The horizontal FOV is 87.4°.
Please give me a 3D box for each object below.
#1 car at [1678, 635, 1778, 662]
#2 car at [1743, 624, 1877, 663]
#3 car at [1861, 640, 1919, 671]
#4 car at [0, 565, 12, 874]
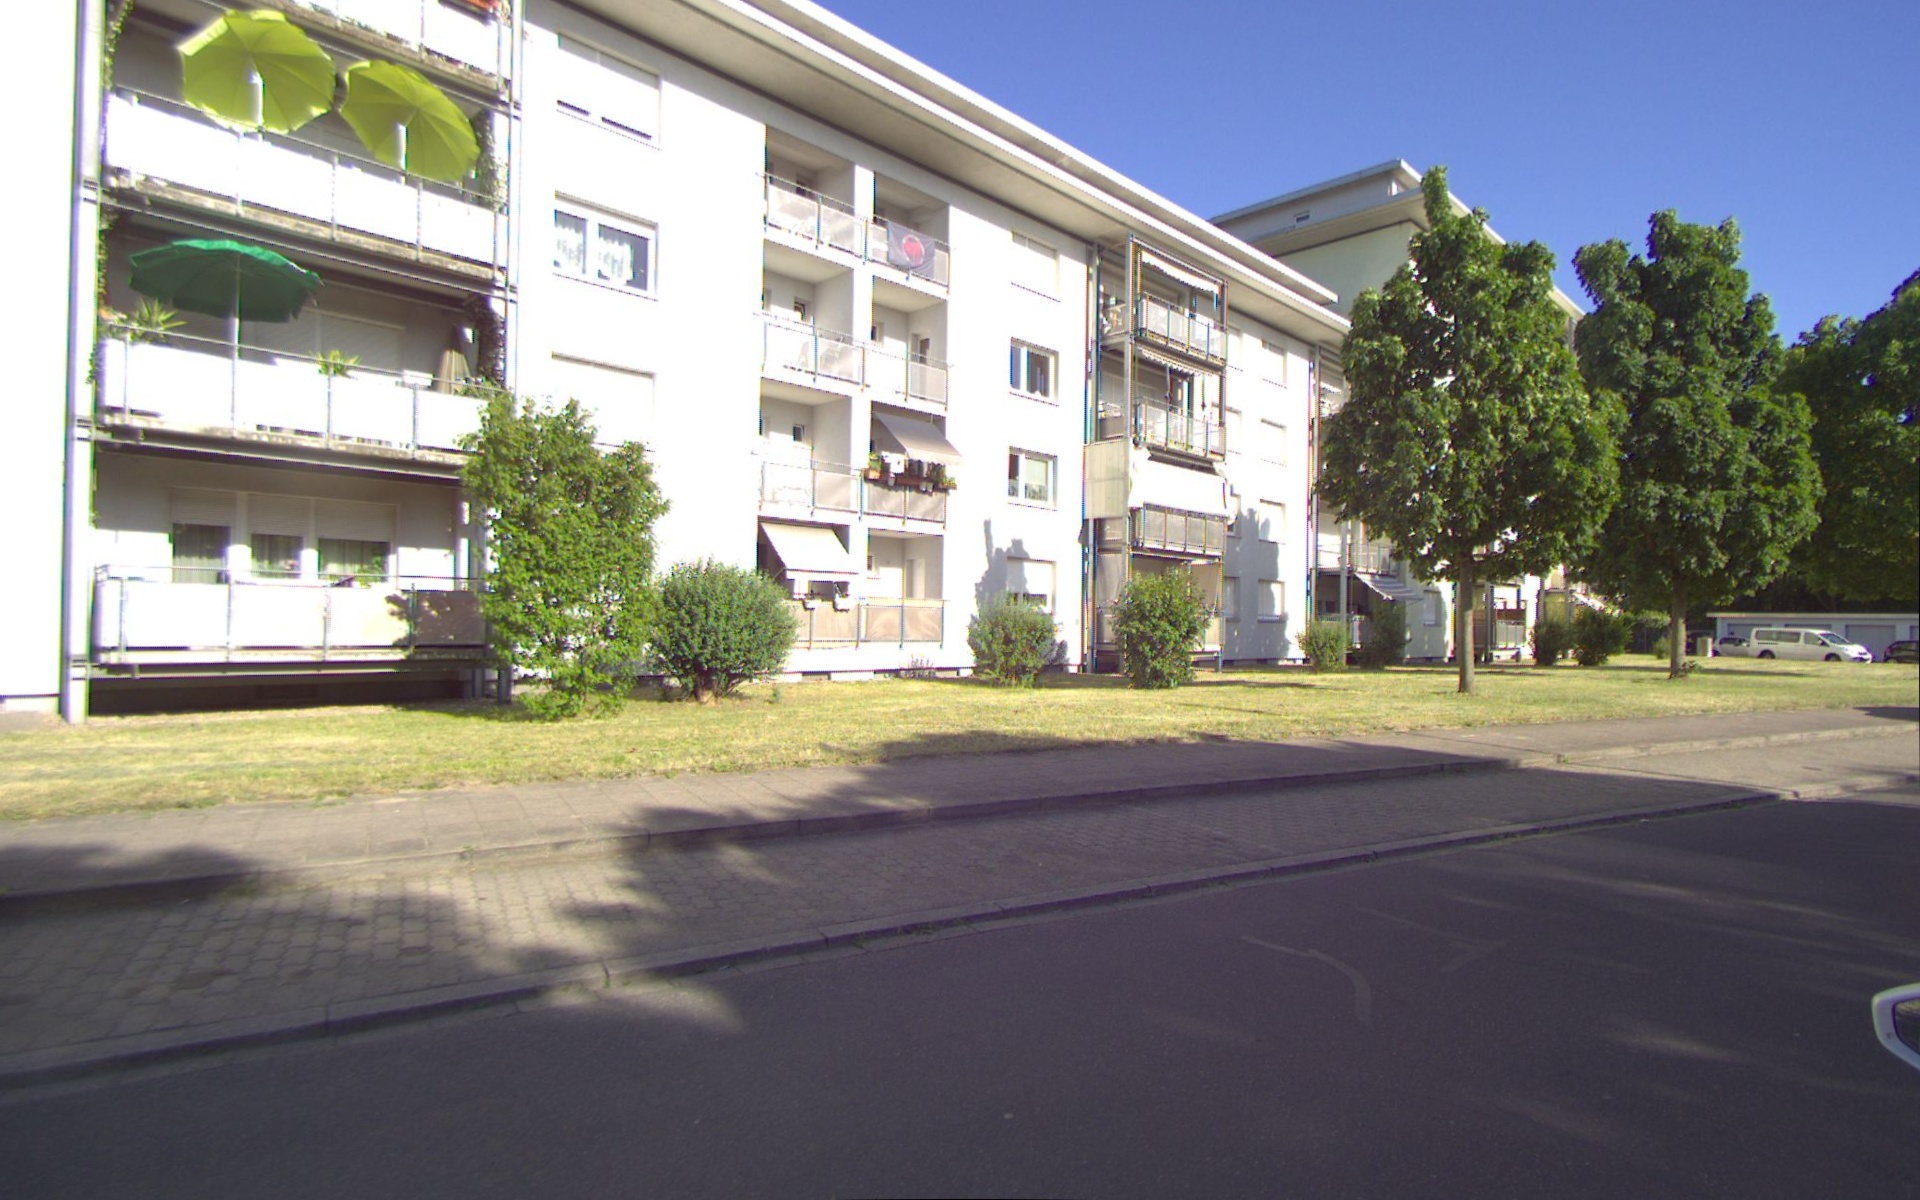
[{"bbox_3d":[46.086,2.896,60.380,1.974,1.480,4.427,1,-2,-27],"label":"car"},{"bbox_3d":[45.654,2.295,54.099,2.203,1.976,5.099,1,-2,-20],"label":"car"},{"bbox_3d":[47.418,2.752,49.250,2.013,1.480,4.436,1,-2,-21],"label":"car"},{"bbox_3d":[-5.938,0.566,2.570,4.760,1.625,1.903,2,-2,-33],"label":"car"}]
